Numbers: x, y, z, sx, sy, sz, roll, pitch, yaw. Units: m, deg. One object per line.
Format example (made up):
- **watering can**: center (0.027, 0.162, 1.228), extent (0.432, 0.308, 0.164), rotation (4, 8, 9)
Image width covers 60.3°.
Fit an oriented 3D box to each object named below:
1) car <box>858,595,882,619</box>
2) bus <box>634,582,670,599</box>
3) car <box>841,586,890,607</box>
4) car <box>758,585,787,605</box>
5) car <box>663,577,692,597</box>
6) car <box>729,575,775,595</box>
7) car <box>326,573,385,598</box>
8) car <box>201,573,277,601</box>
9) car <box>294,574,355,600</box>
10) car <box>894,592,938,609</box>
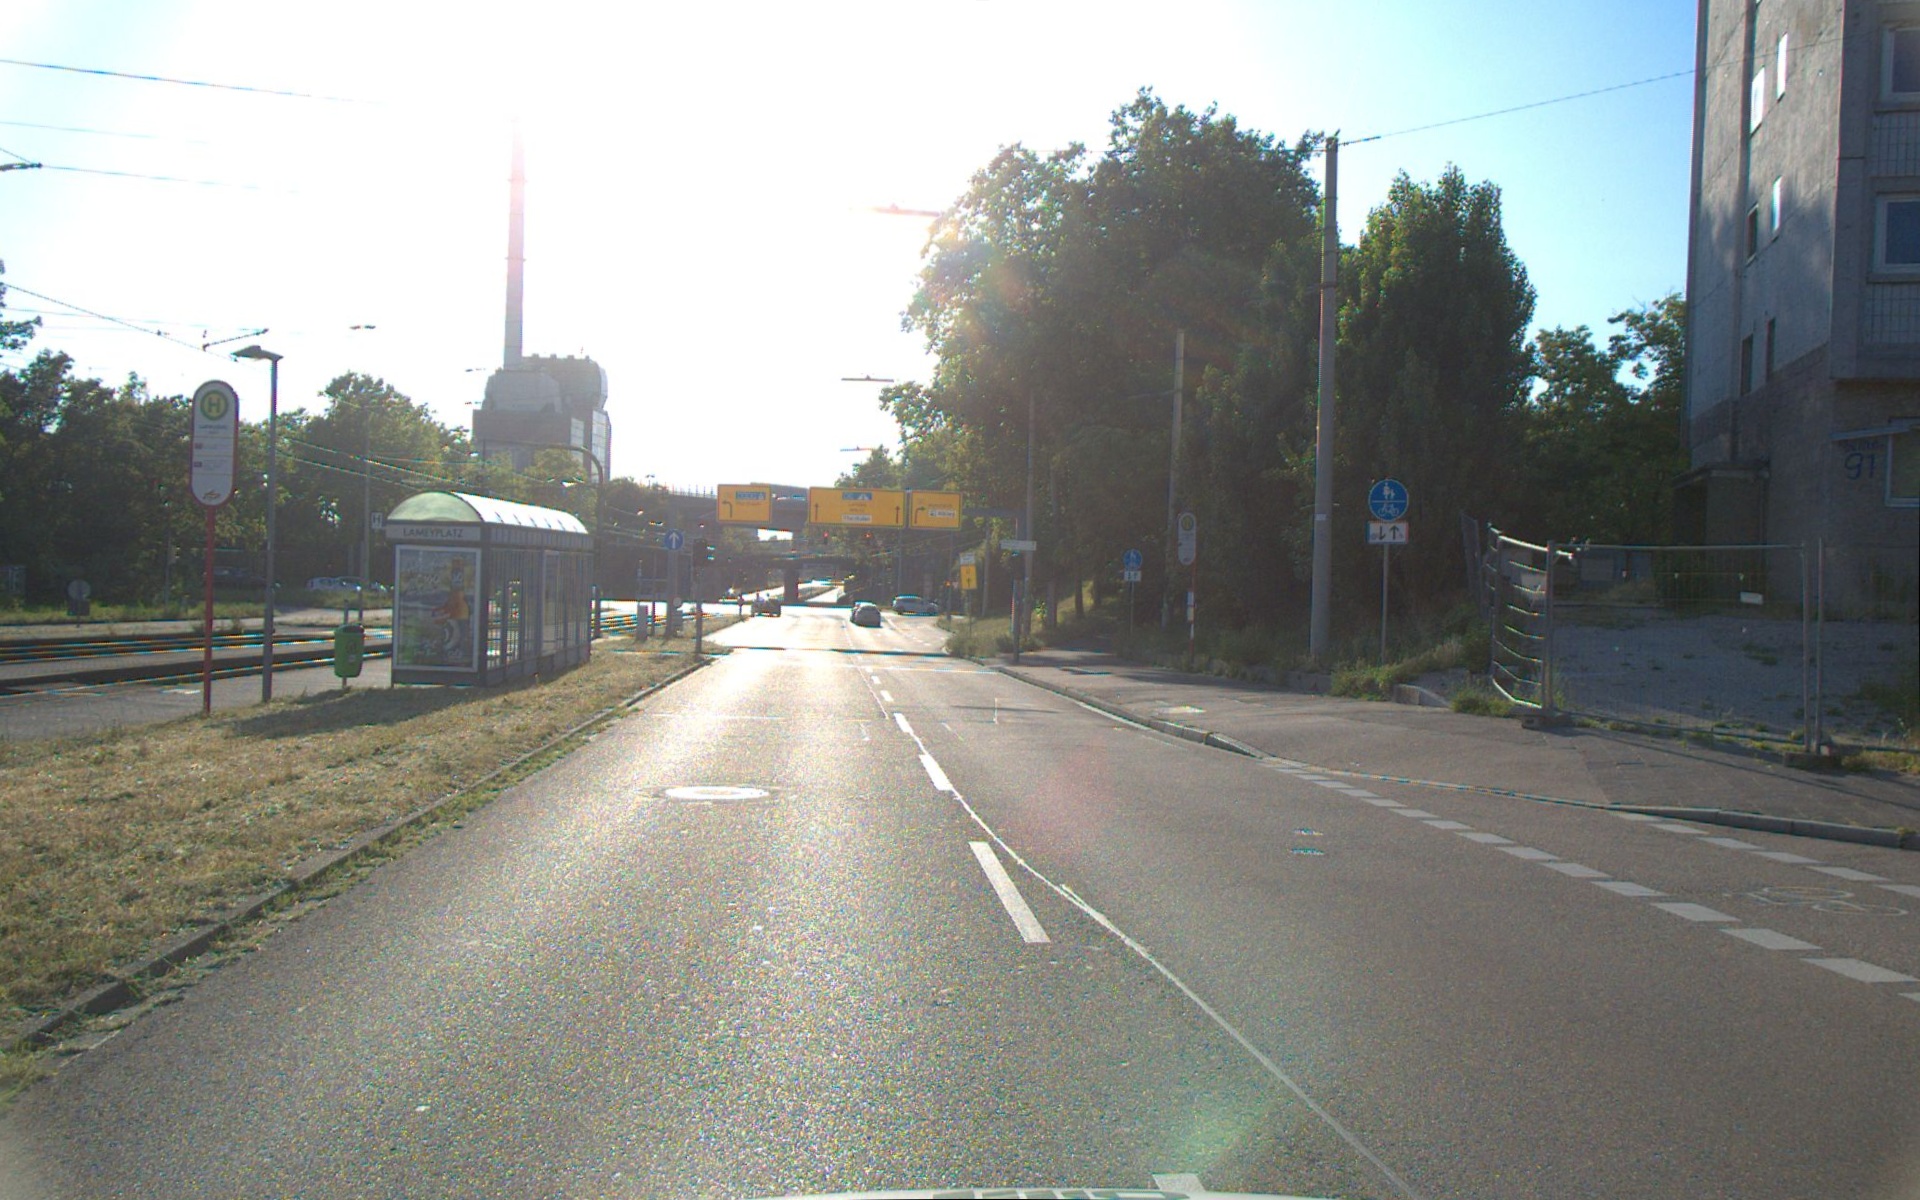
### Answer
- **car**: center (-6.147, 0.469, 113.107), extent (1.484, 1.411, 3.363), rotation (2, 2, -1)
- **bus**: center (-39.379, -1.185, 211.961), extent (2.531, 2.049, 12.292), rotation (1, 0, -1)
- **car**: center (-9.988, -0.390, 175.426), extent (4.744, 2.048, 2.002), rotation (3, 2, 16)
- **car**: center (-14.544, -0.423, 128.498), extent (1.997, 1.471, 3.998), rotation (1, 0, -2)
- **car**: center (-29.456, -1.324, 172.502), extent (1.952, 2.049, 4.864), rotation (1, 0, 3)
- **car**: center (-23.205, -1.696, 184.739), extent (4.684, 2.048, 2.001), rotation (3, 2, 17)
- **car**: center (-45.696, -1.087, 125.010), extent (3.943, 1.780, 1.981), rotation (1, 0, -29)
- **car**: center (-50.534, -0.932, 115.894), extent (4.722, 1.876, 1.981), rotation (1, 0, -29)
- **car**: center (-46.450, -0.962, 120.903), extent (3.943, 1.780, 1.981), rotation (1, 0, -29)
- **car**: center (-4.008, 0.072, 149.254), extent (3.908, 1.471, 1.773), rotation (1, 0, -5)
